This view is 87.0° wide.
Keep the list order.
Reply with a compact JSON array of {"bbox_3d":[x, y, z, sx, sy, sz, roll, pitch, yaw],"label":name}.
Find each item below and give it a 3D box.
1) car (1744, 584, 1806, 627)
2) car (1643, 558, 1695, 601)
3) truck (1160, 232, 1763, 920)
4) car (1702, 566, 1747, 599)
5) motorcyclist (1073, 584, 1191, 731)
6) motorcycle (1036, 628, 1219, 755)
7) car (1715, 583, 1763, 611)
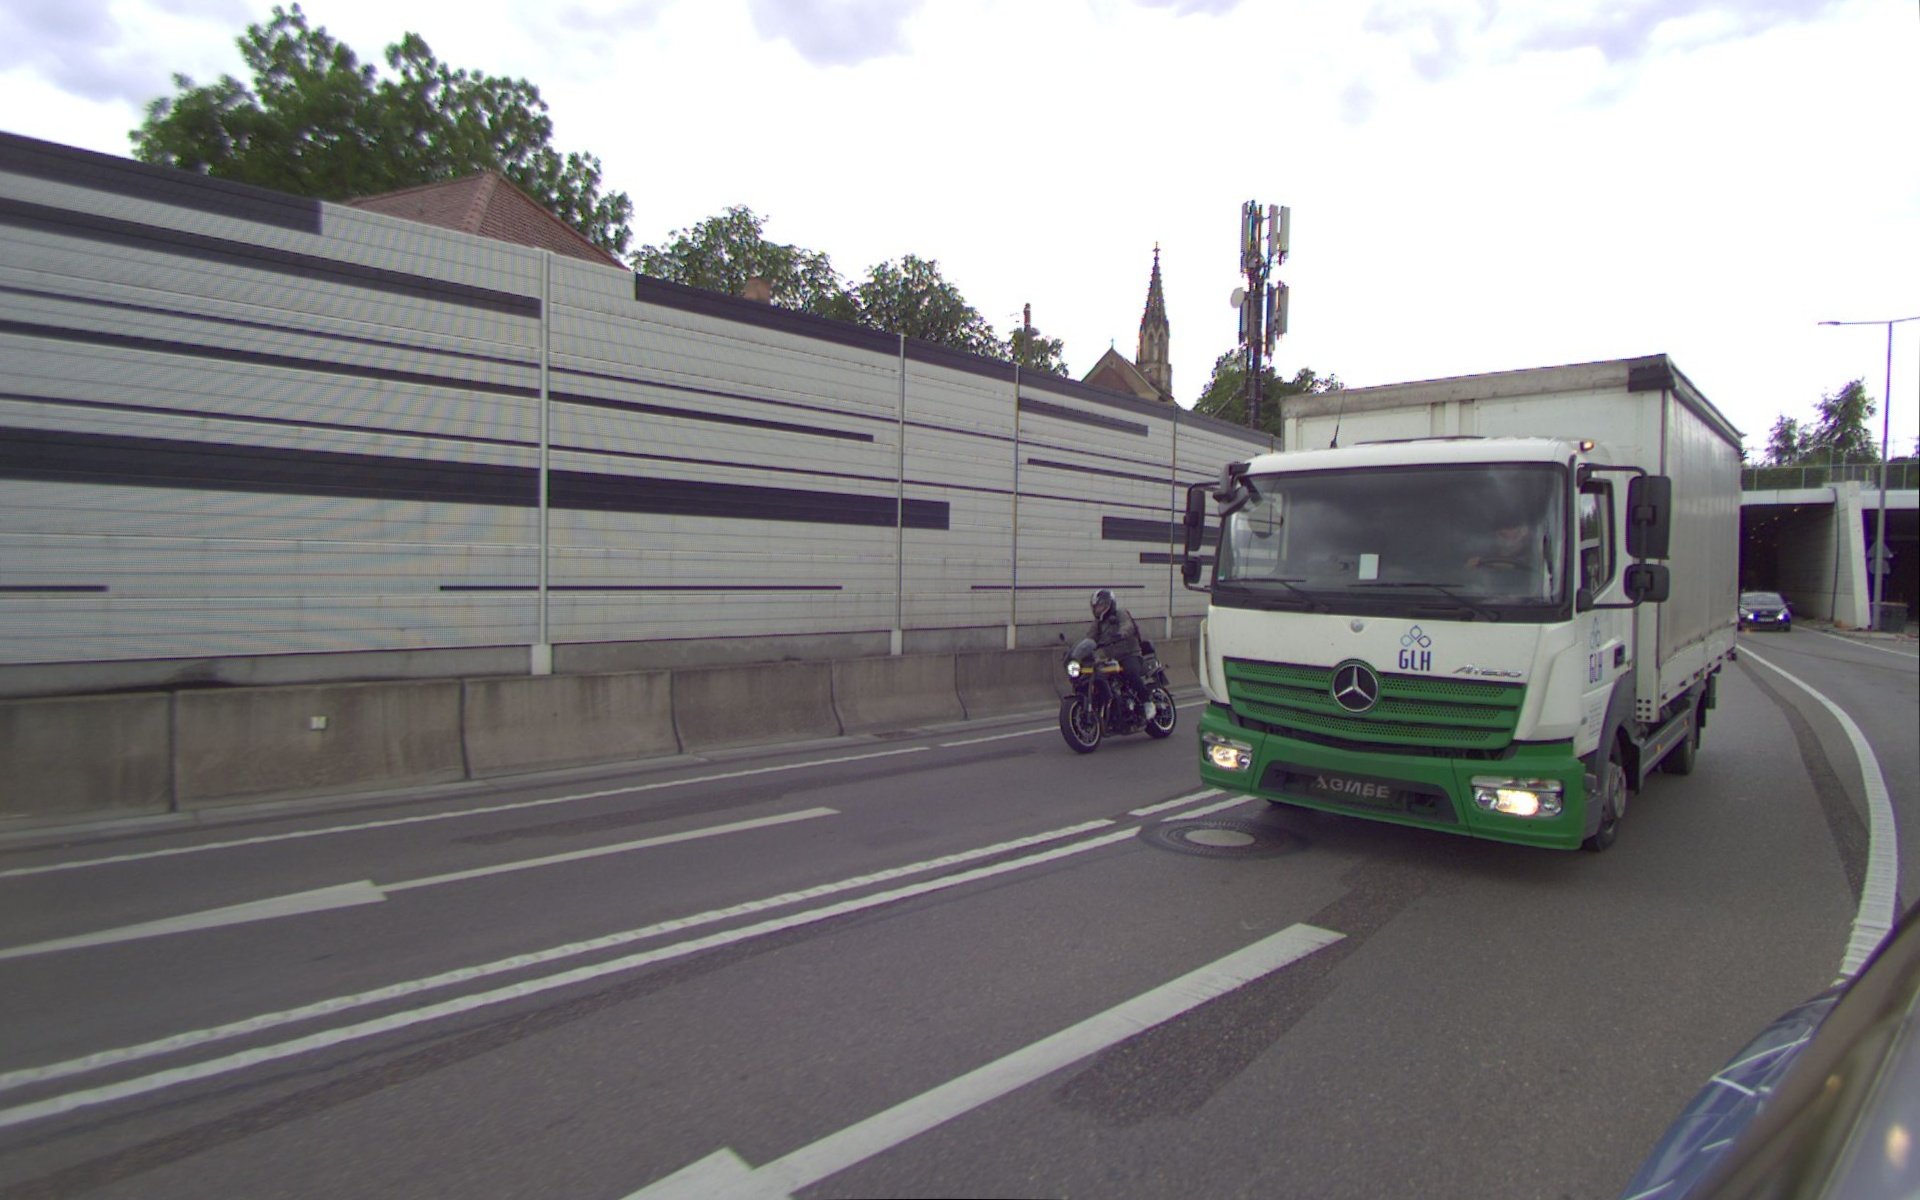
[{"bbox_3d":[31.184,0.158,38.789,1.714,1.482,3.945,3,3,38],"label":"car"},{"bbox_3d":[48.414,-1.430,69.240,2.544,2.802,7.264,2,2,33],"label":"car"},{"bbox_3d":[4.726,-0.212,8.453,2.628,3.279,7.305,3,3,41],"label":"truck"},{"bbox_3d":[49.207,-1.140,65.209,1.985,2.039,3.953,1,1,33],"label":"car"},{"bbox_3d":[1.870,0.584,10.990,0.911,1.495,0.953,1,0,38],"label":"motorcyclist"},{"bbox_3d":[1.888,0.918,10.985,0.743,1.097,2.626,2,2,40],"label":"motorcycle"},{"bbox_3d":[41.108,-0.162,53.474,1.817,1.464,3.950,0,0,35],"label":"car"}]
